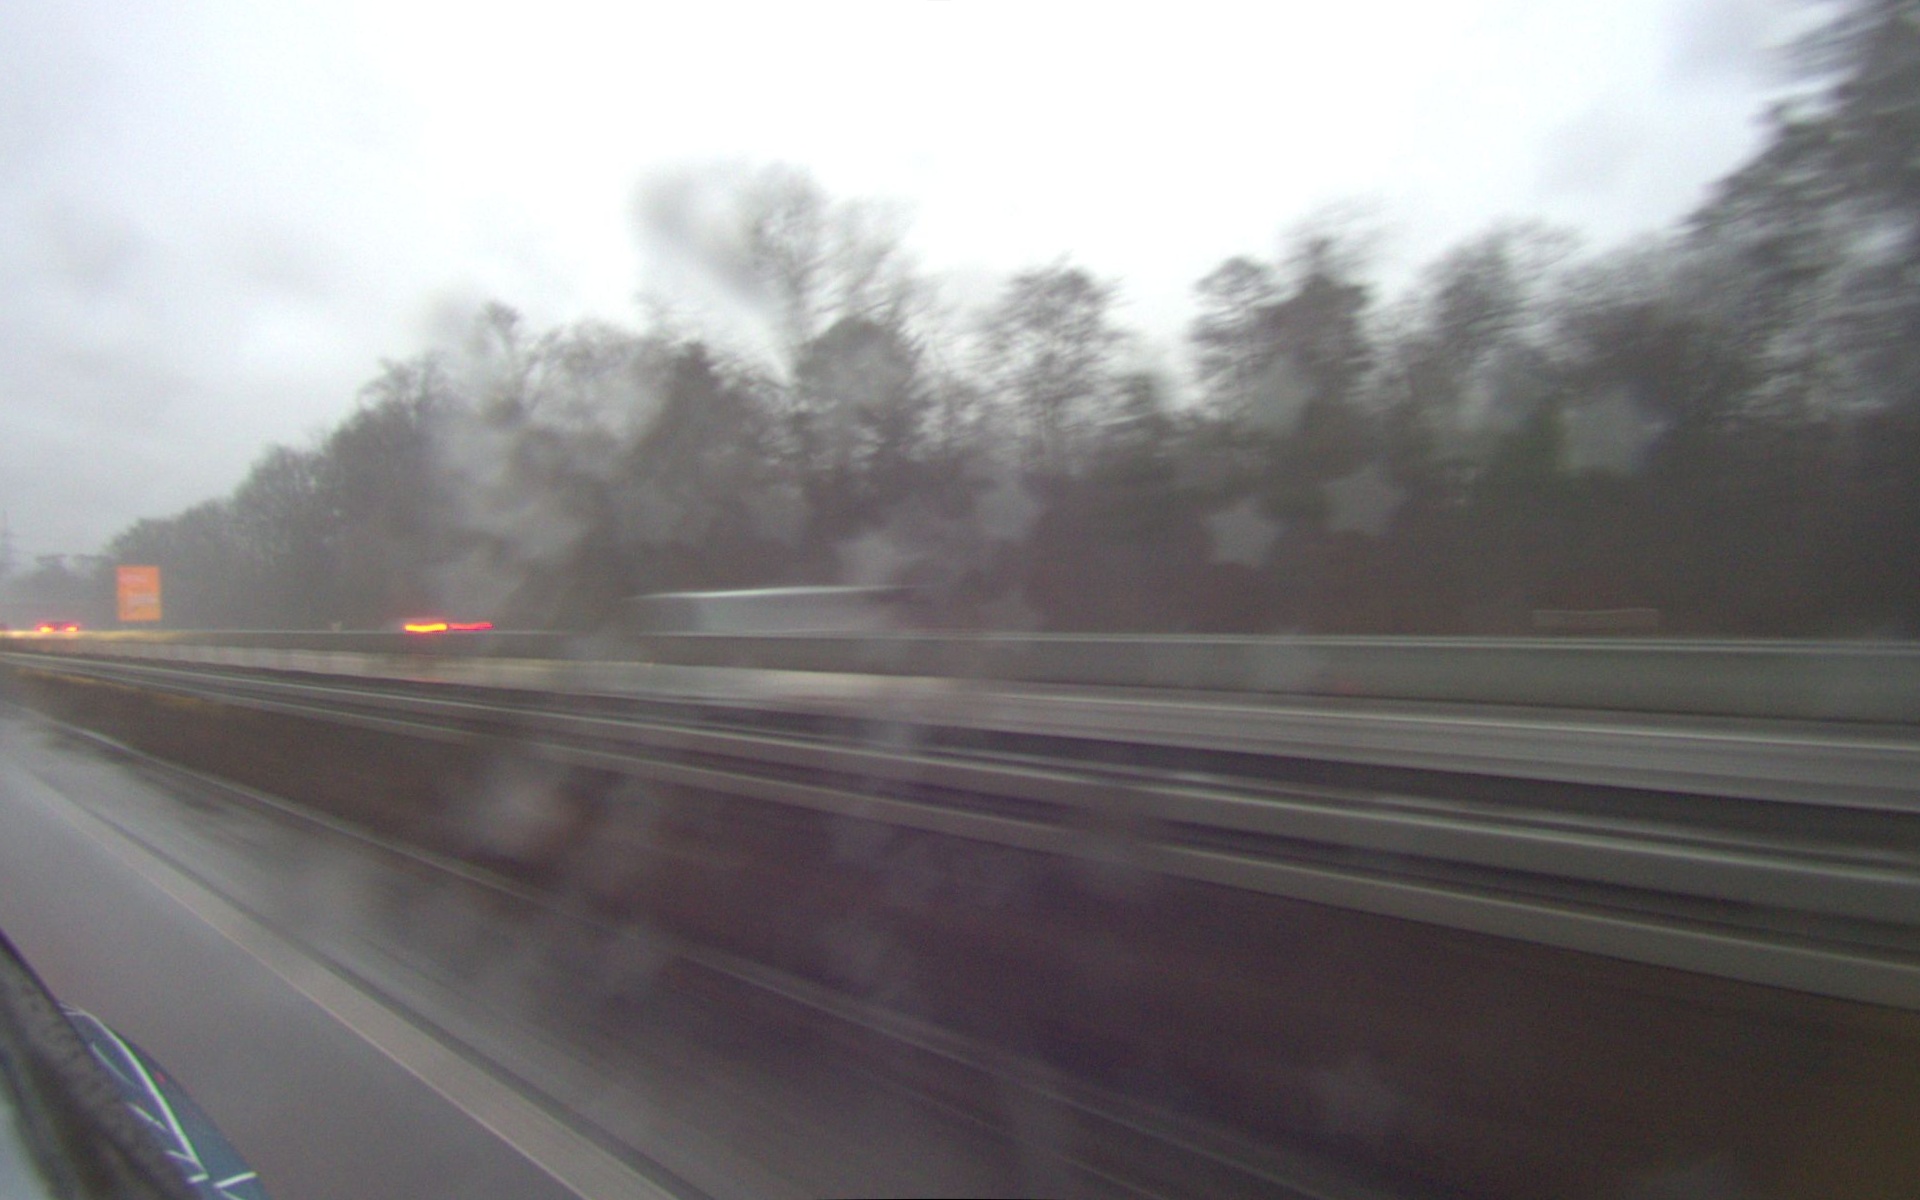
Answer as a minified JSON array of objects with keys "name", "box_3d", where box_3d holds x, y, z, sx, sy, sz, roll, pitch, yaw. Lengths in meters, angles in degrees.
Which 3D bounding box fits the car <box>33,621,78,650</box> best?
[{"name":"car","box_3d":[-65.301,2.532,73.035,4.710,1.965,1.972,-2,-1,42]}]

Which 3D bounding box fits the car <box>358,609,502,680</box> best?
[{"name":"car","box_3d":[-14.524,1.143,27.642,4.270,1.585,1.974,1,3,40]}]

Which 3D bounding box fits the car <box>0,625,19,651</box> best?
[{"name":"car","box_3d":[-61.592,2.414,64.640,3.998,1.579,1.790,-2,-1,41]}]

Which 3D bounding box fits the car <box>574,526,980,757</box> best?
[{"name":"car","box_3d":[-2.174,0.411,11.151,4.637,2.029,1.913,-2,-1,41]}]
